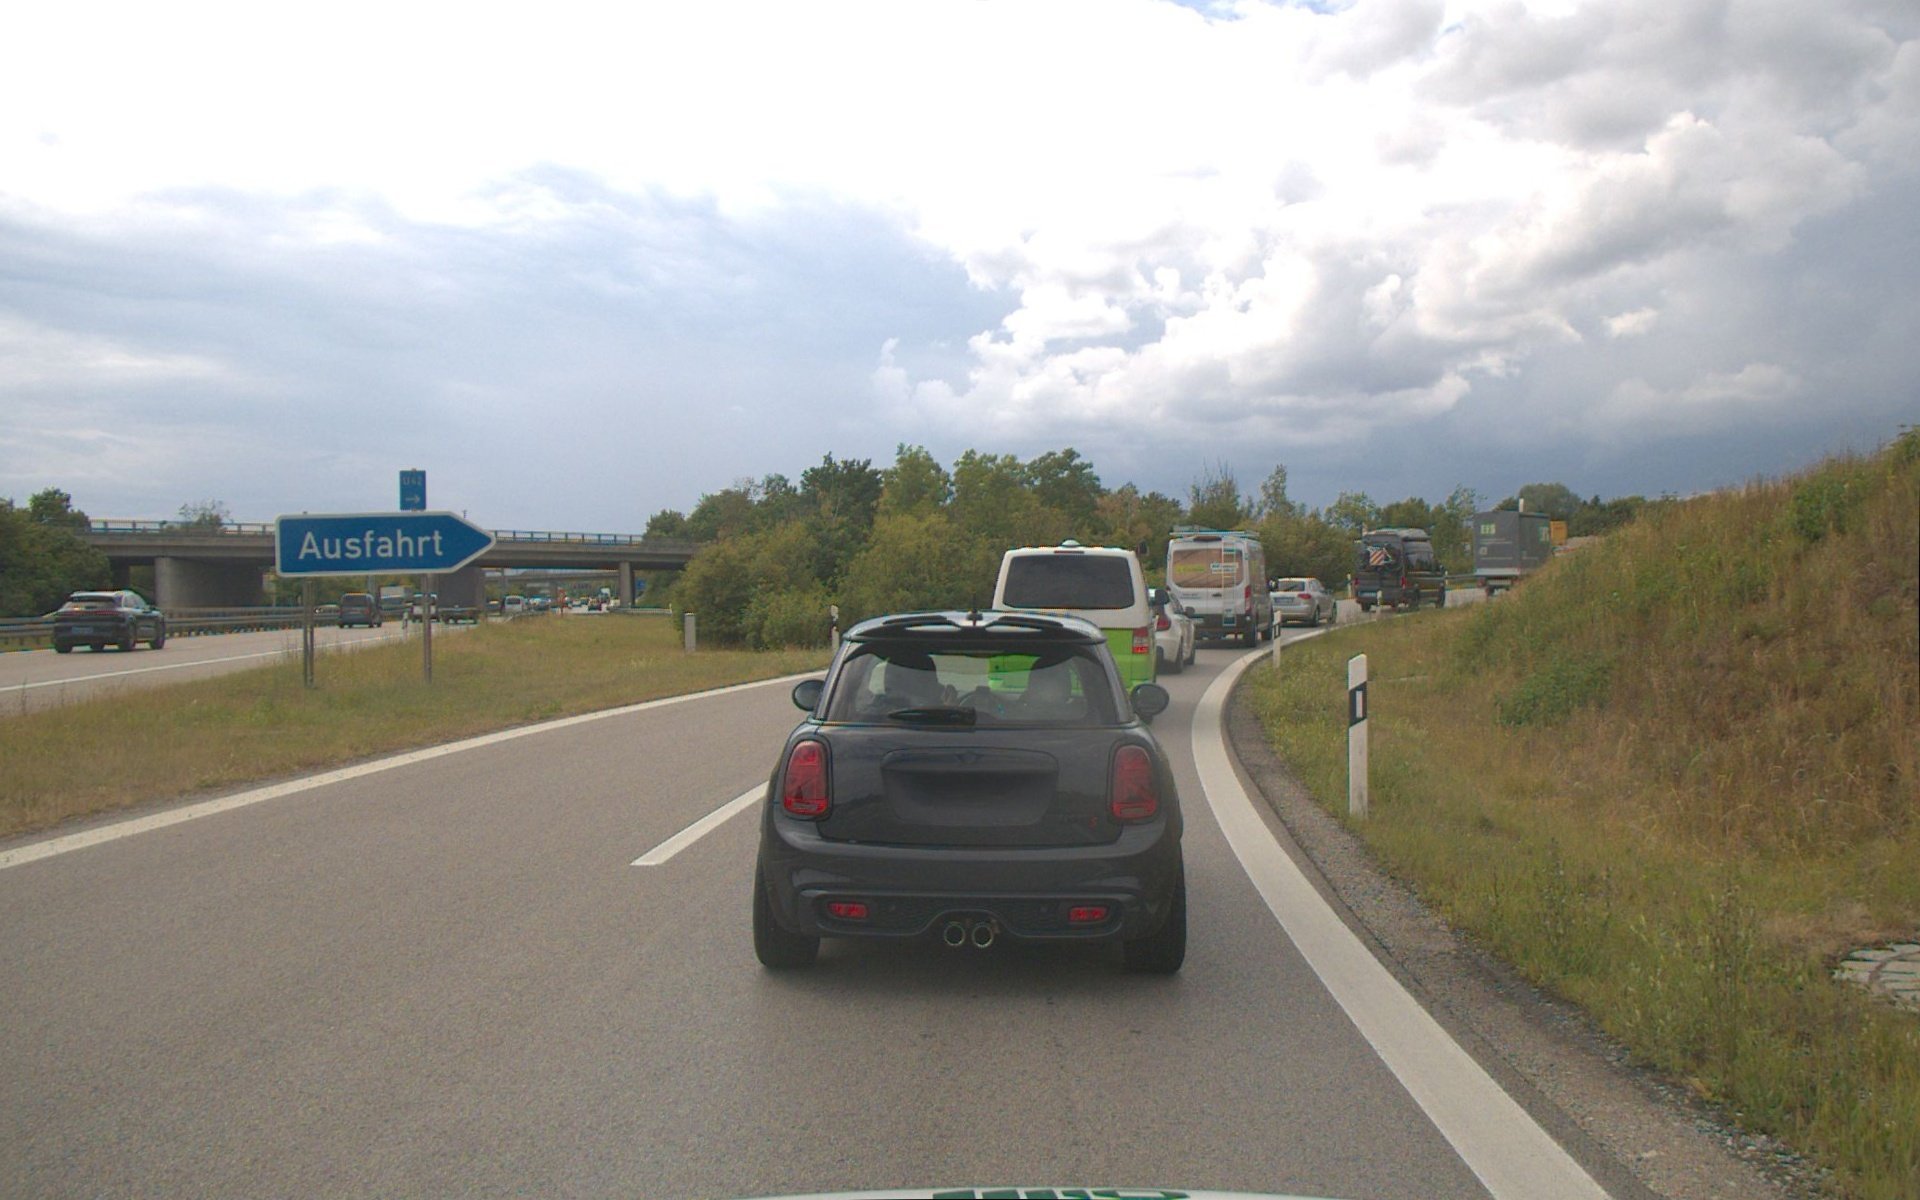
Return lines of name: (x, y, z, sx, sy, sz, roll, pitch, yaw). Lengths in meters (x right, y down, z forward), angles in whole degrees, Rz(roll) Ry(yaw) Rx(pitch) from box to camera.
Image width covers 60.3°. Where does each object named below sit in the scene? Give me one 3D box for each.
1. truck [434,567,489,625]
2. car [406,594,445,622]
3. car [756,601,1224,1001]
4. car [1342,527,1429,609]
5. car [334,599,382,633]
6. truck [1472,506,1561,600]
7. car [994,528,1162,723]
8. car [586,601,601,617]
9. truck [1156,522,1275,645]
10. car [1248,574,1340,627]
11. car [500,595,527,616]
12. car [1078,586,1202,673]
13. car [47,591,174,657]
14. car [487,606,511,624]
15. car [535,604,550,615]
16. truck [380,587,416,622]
truck: (-31.038, -0.200, 103.132, 2.423, 3.430, 7.901, -1, 0, -11)
car: (-36.192, 0.554, 112.060, 1.958, 1.842, 3.990, -1, 0, -11)
car: (0.110, 0.733, 7.870, 1.692, 1.438, 3.725, 0, 0, 0)
car: (15.434, -1.144, 59.869, 2.065, 2.845, 3.993, 1, 0, 29)
car: (-32.723, 0.861, 90.002, 1.812, 1.789, 4.324, -1, 0, -11)
truck: (25.359, -2.050, 75.240, 2.191, 3.975, 5.993, 0, -1, 36)
car: (1.484, 0.265, 19.503, 1.746, 2.049, 4.003, 0, 0, 7)
car: (-48.359, 1.243, 218.357, 1.959, 2.049, 3.987, 1, -1, -12)
truck: (6.114, -0.392, 39.036, 2.132, 2.705, 5.112, 0, 1, 16)
car: (10.111, 0.007, 49.860, 1.829, 1.536, 3.997, 0, 0, 25)
car: (-39.395, 0.462, 145.907, 1.842, 1.782, 4.476, -1, 0, -10)
car: (3.236, 0.482, 29.175, 1.724, 1.423, 3.728, -1, 0, 13)
car: (-24.521, 0.663, 47.938, 1.958, 1.774, 4.816, -1, 0, -11)
car: (-49.053, 1.547, 176.247, 1.958, 1.817, 5.398, -1, 0, -10)
car: (-55.836, 1.246, 221.304, 1.691, 1.449, 4.785, -1, 0, -11)
truck: (-62.845, 0.488, 185.077, 2.709, 3.710, 8.175, -1, 0, -11)
